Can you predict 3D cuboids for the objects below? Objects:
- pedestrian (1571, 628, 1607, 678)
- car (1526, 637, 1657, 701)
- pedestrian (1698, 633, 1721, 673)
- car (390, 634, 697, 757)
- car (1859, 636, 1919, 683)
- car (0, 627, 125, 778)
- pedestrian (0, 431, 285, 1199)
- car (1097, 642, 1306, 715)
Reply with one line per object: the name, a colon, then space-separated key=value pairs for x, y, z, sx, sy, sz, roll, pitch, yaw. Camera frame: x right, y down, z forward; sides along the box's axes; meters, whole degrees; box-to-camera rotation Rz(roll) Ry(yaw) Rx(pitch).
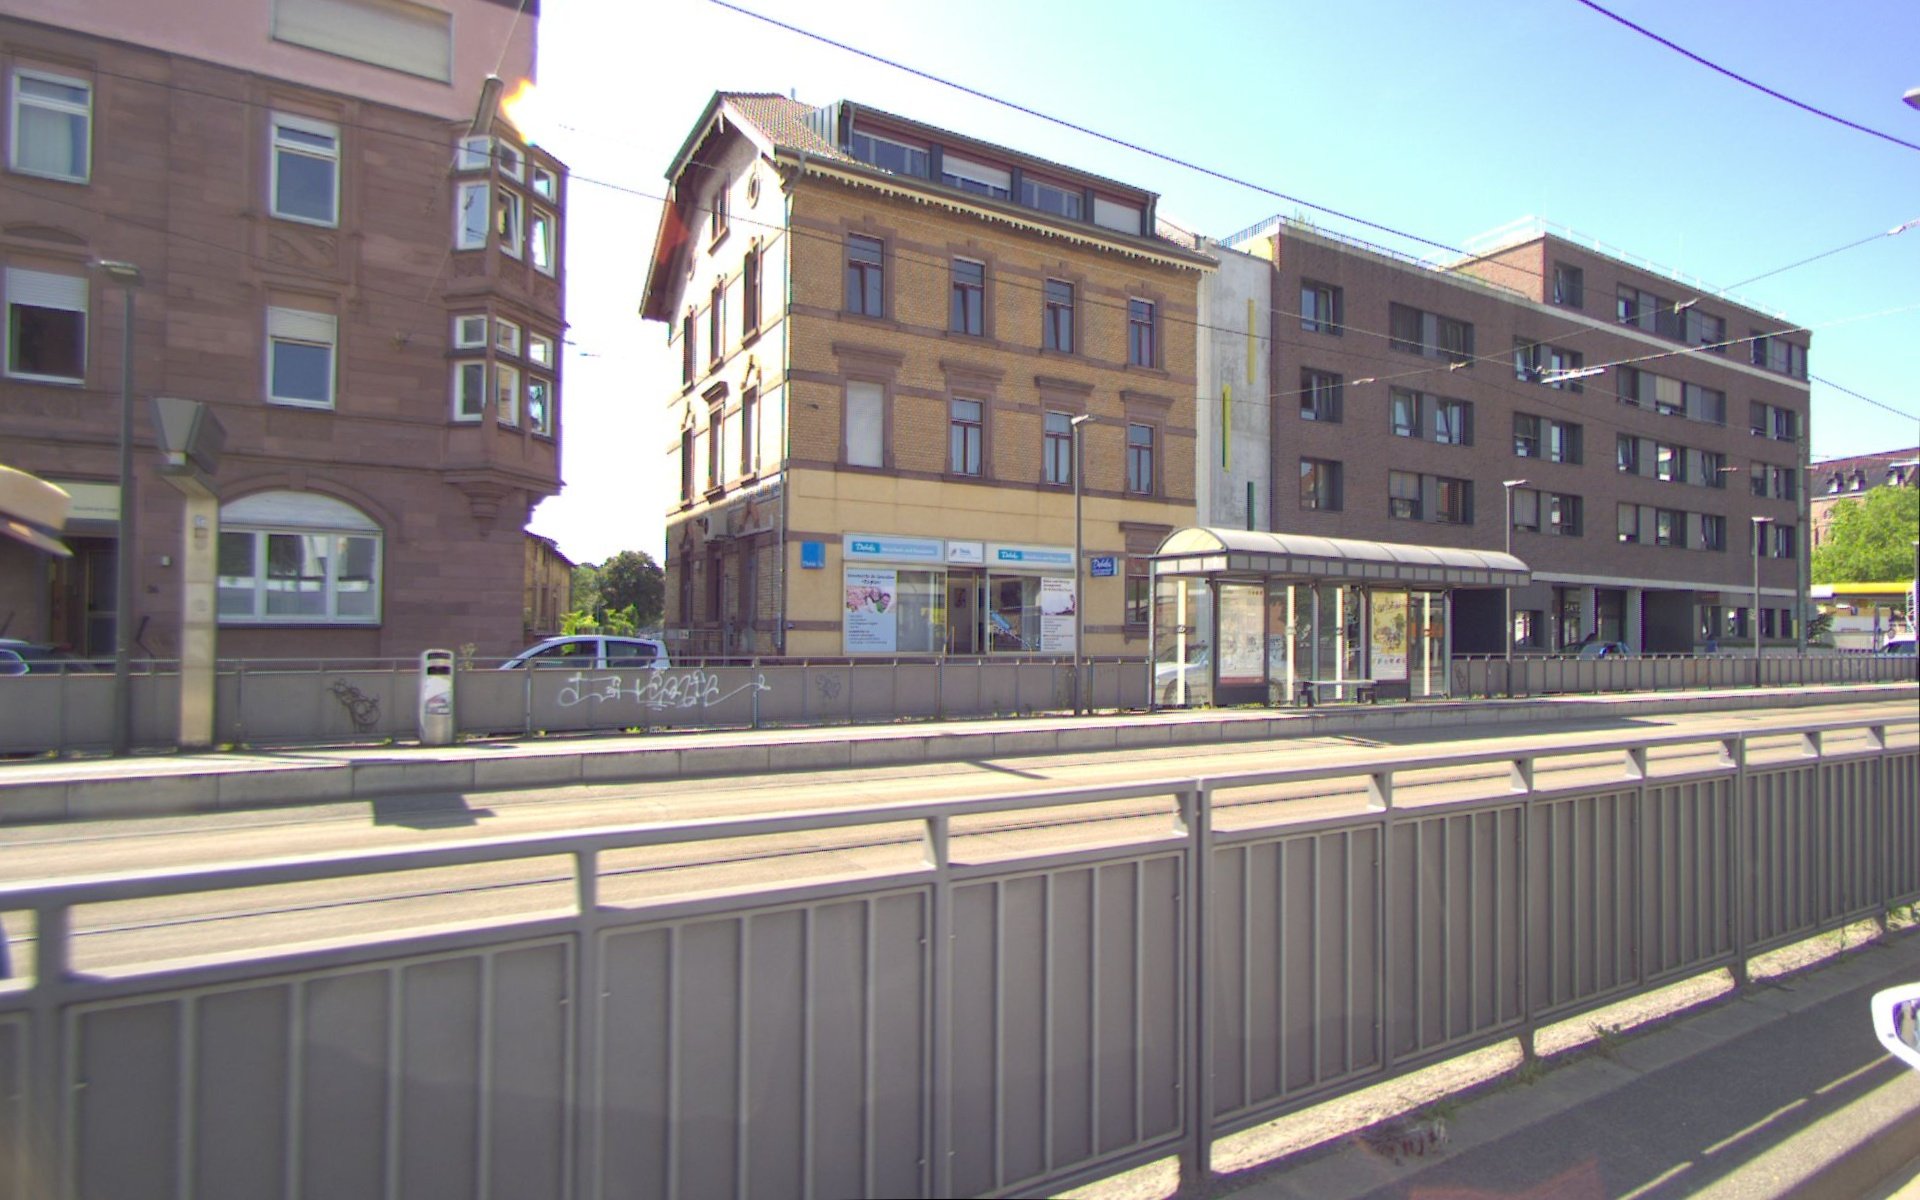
pedestrian: x=23.638 y=1.972 z=37.746 sx=0.829 sy=1.843 sz=0.840 roll=1 pitch=-2 yaw=-30
car: x=17.890 y=1.914 z=28.437 sx=3.537 sy=1.644 sz=1.704 roll=1 pitch=-1 yaw=-30
pedestrian: x=32.397 y=2.288 z=43.436 sx=0.692 sy=1.686 sz=0.578 roll=1 pitch=-2 yaw=-32
car: x=-5.816 y=1.238 z=14.124 sx=3.820 sy=1.488 sz=1.618 roll=1 pitch=-1 yaw=-30
car: x=38.018 y=2.353 z=40.241 sx=4.139 sy=1.752 sz=1.792 roll=1 pitch=0 yaw=-30
car: x=-11.820 y=1.085 z=10.572 sx=4.421 sy=1.536 sz=1.703 roll=1 pitch=0 yaw=-31
pedestrian: x=-2.238 y=0.635 z=2.133 sx=1.223 sy=1.883 sz=0.976 roll=1 pitch=-2 yaw=-30
car: x=5.138 y=1.597 z=21.160 sx=4.469 sy=1.381 sz=1.623 roll=2 pitch=-3 yaw=-31
